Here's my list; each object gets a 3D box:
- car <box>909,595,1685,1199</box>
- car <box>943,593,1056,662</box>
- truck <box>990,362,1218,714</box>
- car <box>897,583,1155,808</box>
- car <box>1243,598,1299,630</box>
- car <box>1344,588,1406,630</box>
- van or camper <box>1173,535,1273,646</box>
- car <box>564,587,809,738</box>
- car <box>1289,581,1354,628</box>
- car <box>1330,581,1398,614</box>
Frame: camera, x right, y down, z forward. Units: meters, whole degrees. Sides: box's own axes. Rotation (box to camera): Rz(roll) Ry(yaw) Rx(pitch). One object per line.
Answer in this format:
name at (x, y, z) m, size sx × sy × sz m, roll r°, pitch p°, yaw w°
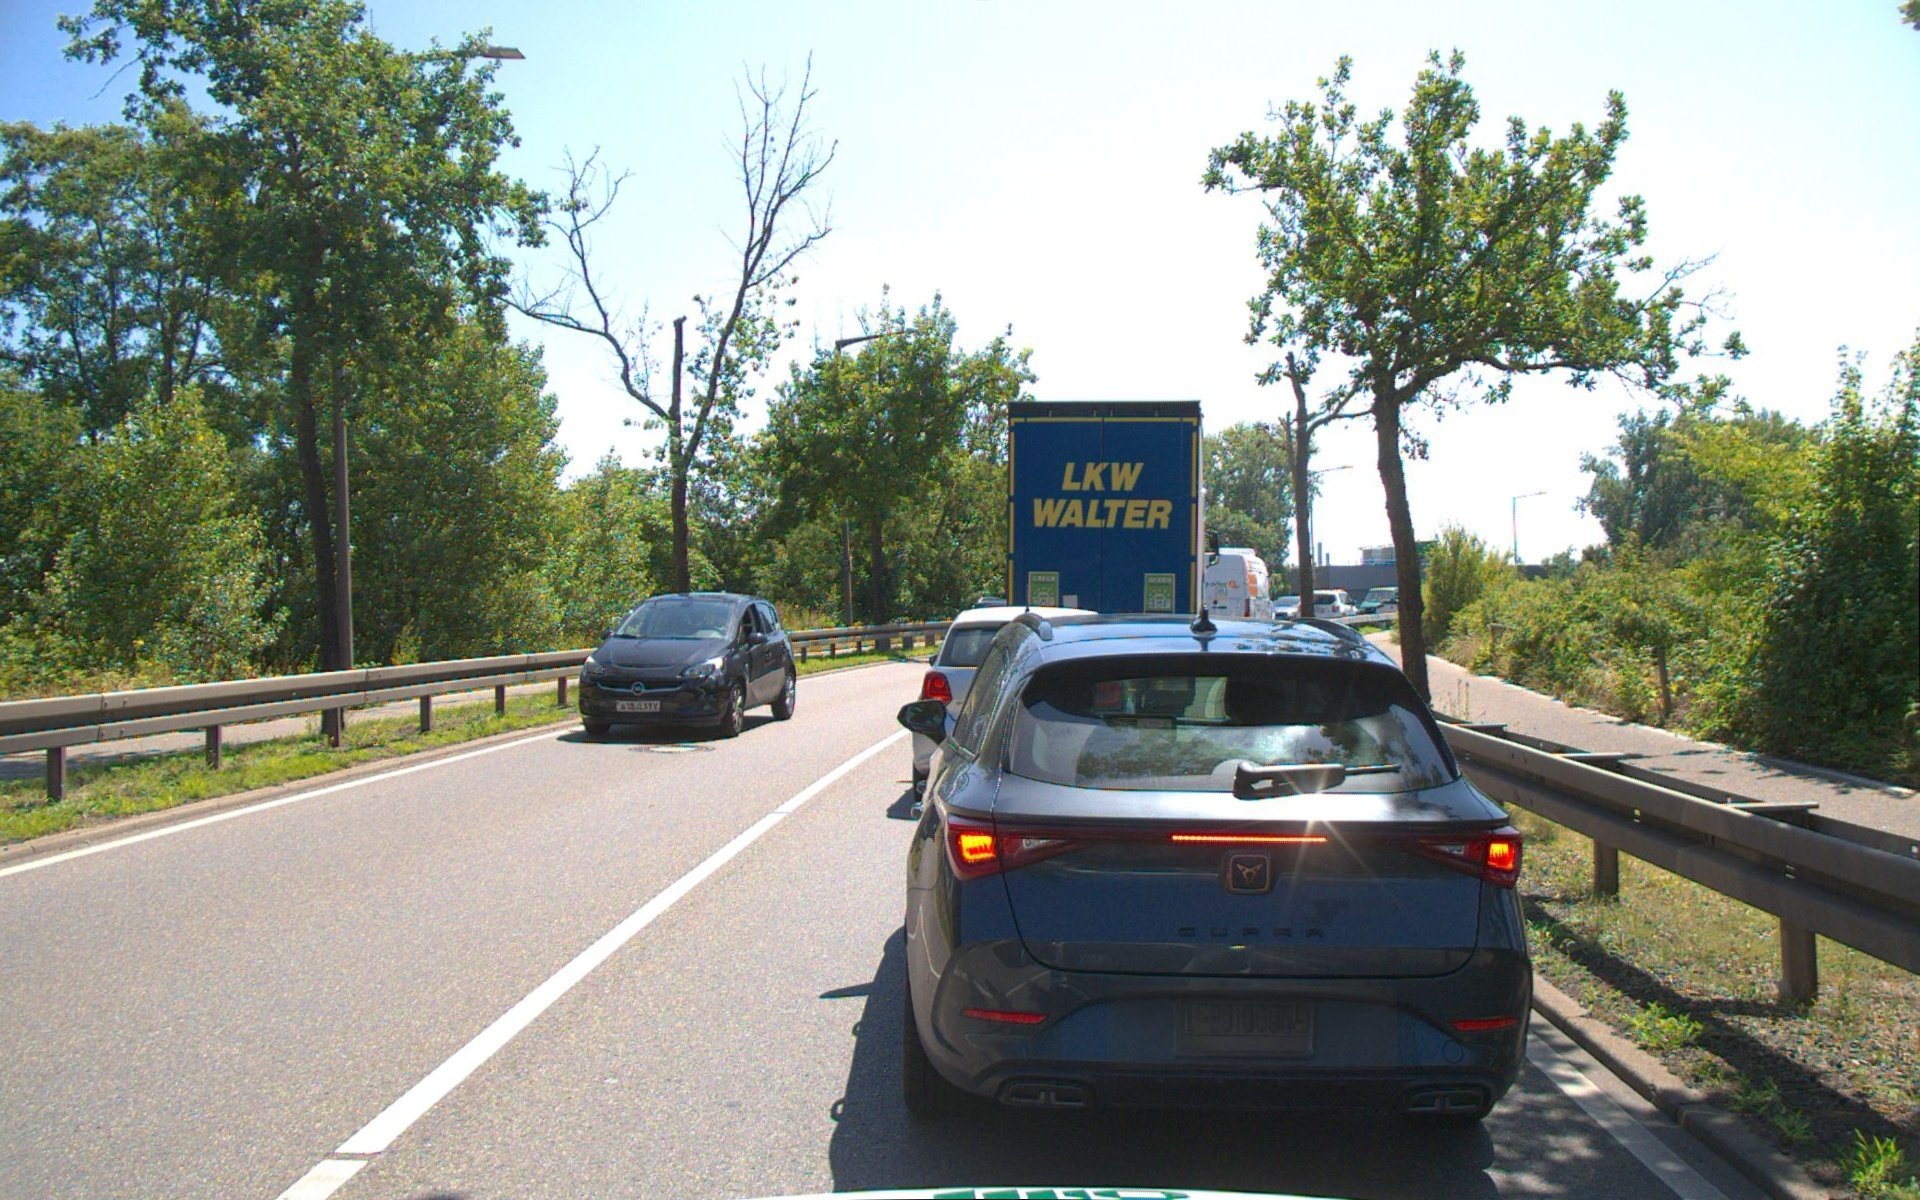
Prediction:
car at (0.737, 0.729, 5.602) m, size 1.708 × 1.457 × 3.879 m, roll 1°, pitch 0°, yaw 0°
car at (0.972, 0.578, 37.726) m, size 1.820 × 1.445 × 4.261 m, roll 1°, pitch 0°, yaw 12°
truck at (3.028, -0.810, 29.774) m, size 2.887 × 4.526 × 16.811 m, roll 1°, pitch 0°, yaw 8°
car at (0.497, 0.663, 13.512) m, size 1.772 × 1.534 × 4.000 m, roll 1°, pitch 0°, yaw 1°
car at (14.376, 0.639, 76.206) m, size 1.819 × 1.420 × 4.406 m, roll 1°, pitch 0°, yaw 20°
car at (19.416, 0.422, 77.308) m, size 1.954 × 1.840 × 4.842 m, roll 1°, pitch 0°, yaw 25°
van or camper at (7.864, -0.261, 49.002) m, size 2.414 × 3.051 × 6.091 m, roll 1°, pitch 0°, yaw 14°
car at (-2.944, 0.626, 18.617) m, size 1.635 × 1.491 × 3.823 m, roll 1°, pitch 0°, yaw 8°
car at (14.087, 0.175, 64.275) m, size 1.952 × 1.742 × 4.622 m, roll 1°, pitch 0°, yaw 19°
car at (21.953, -0.128, 89.715) m, size 2.092 × 1.710 × 4.865 m, roll 1°, pitch 0°, yaw 33°
